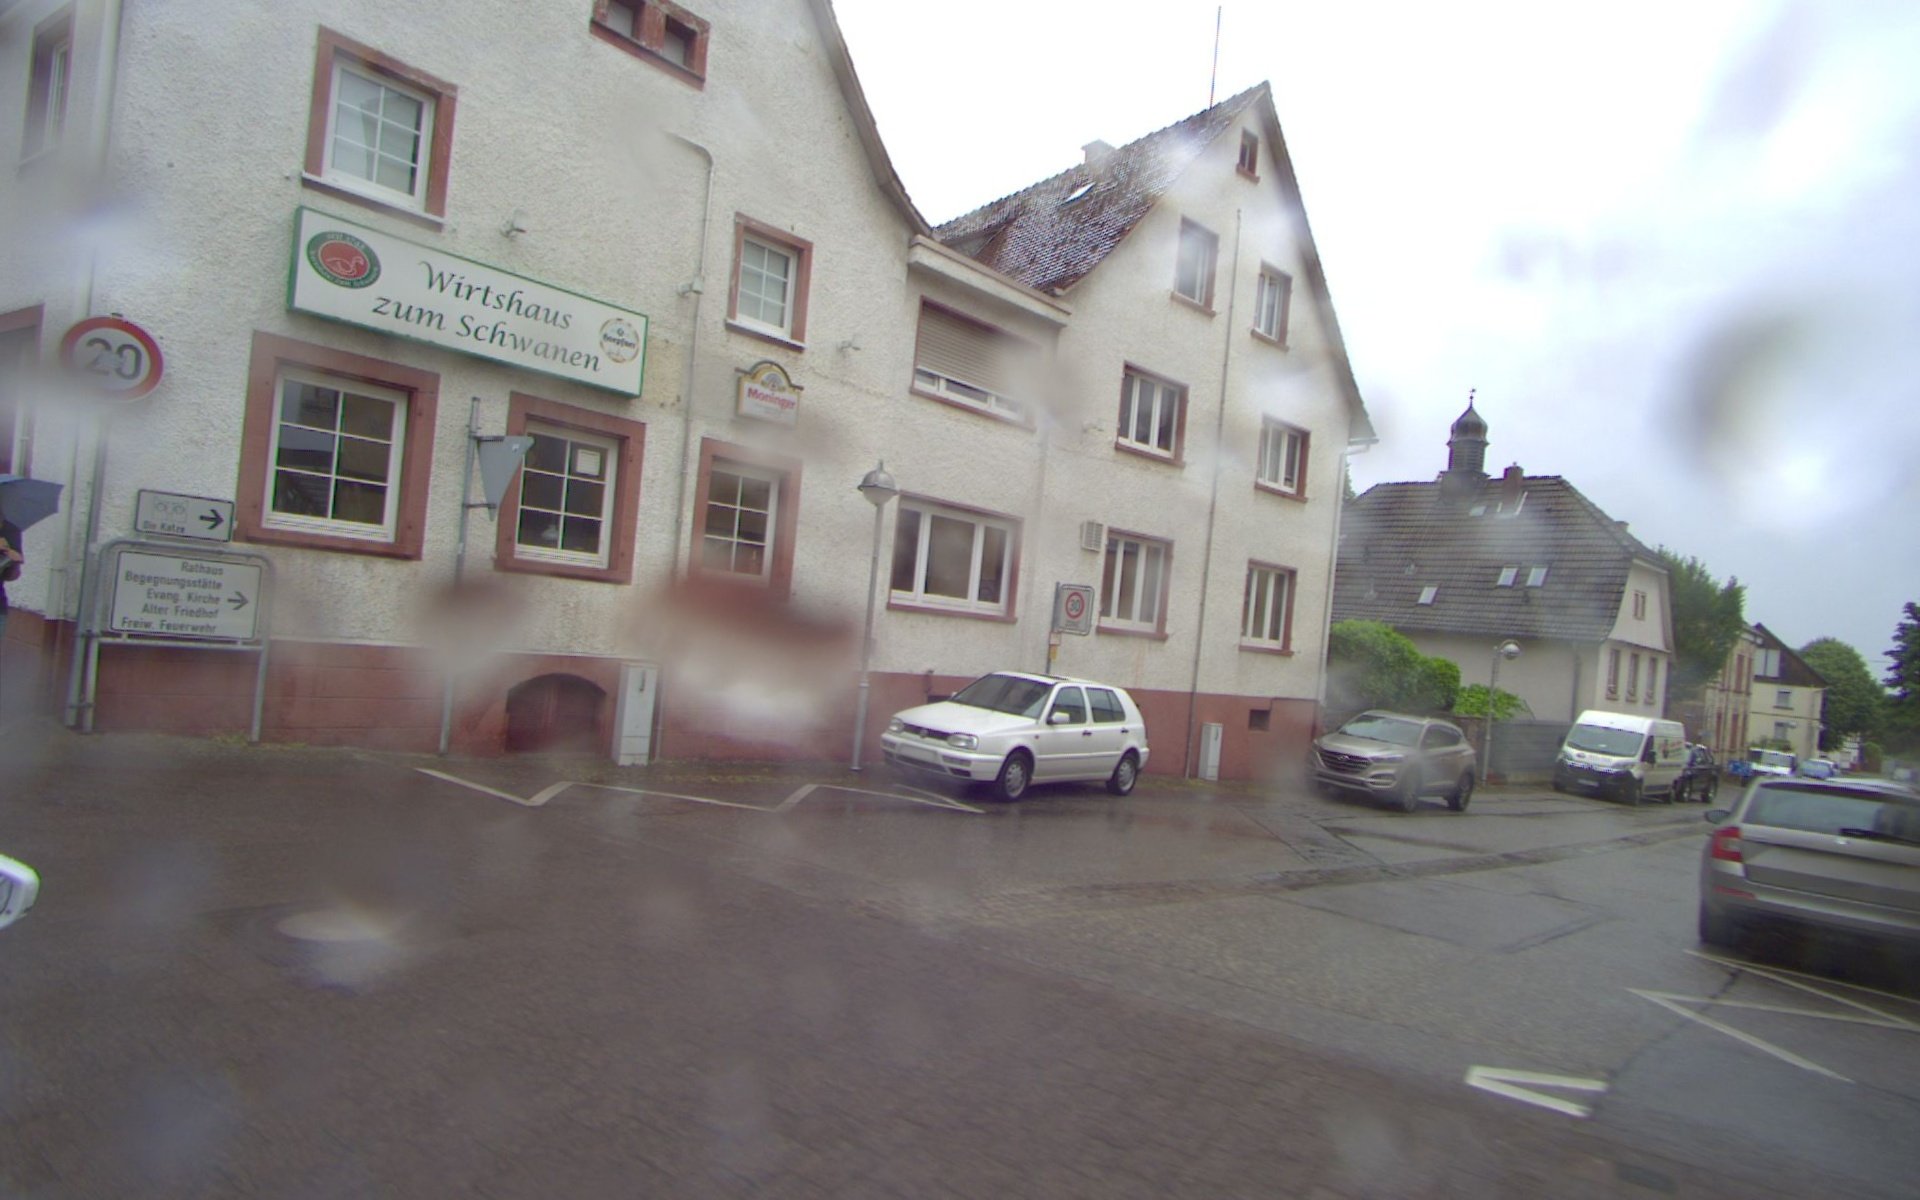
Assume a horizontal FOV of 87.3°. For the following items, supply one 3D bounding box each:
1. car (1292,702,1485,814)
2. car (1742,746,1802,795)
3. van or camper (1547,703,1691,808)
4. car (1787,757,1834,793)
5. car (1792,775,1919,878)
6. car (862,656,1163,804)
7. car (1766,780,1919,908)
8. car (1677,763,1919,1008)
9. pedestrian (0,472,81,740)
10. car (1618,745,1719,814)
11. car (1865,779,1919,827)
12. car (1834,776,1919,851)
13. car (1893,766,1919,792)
[{"bbox_3d":[8.101,2.977,18.851,4.000,1.630,1.805,11,-3,-44],"label":"car"},{"bbox_3d":[41.305,8.653,51.130,1.973,2.037,4.620,7,-2,43],"label":"car"},{"bbox_3d":[19.449,4.585,29.551,5.863,2.507,2.062,10,-2,-44],"label":"van or camper"},{"bbox_3d":[50.314,10.293,59.472,1.822,1.728,4.022,7,-2,43],"label":"car"},{"bbox_3d":[17.141,4.211,19.057,3.850,1.532,1.647,10,-6,-43],"label":"car"},{"bbox_3d":[0.805,1.599,12.585,1.639,1.389,3.948,5,-3,40],"label":"car"},{"bbox_3d":[13.804,3.630,15.366,3.998,1.475,1.832,10,-6,-44],"label":"car"},{"bbox_3d":[7.607,2.349,8.812,1.751,1.475,4.185,3,-6,41],"label":"car"},{"bbox_3d":[-6.678,-0.006,6.573,0.796,1.757,0.997,8,1,16],"label":"pedestrian"},{"bbox_3d":[23.732,5.973,33.660,3.814,1.852,1.896,10,-2,-43],"label":"car"},{"bbox_3d":[35.475,7.621,37.829,3.843,1.409,1.647,7,-2,-41],"label":"car"},{"bbox_3d":[24.370,5.566,26.401,3.848,1.578,1.647,10,-4,-42],"label":"car"},{"bbox_3d":[79.483,14.971,84.229,1.898,1.736,3.979,5,-2,43],"label":"car"}]
